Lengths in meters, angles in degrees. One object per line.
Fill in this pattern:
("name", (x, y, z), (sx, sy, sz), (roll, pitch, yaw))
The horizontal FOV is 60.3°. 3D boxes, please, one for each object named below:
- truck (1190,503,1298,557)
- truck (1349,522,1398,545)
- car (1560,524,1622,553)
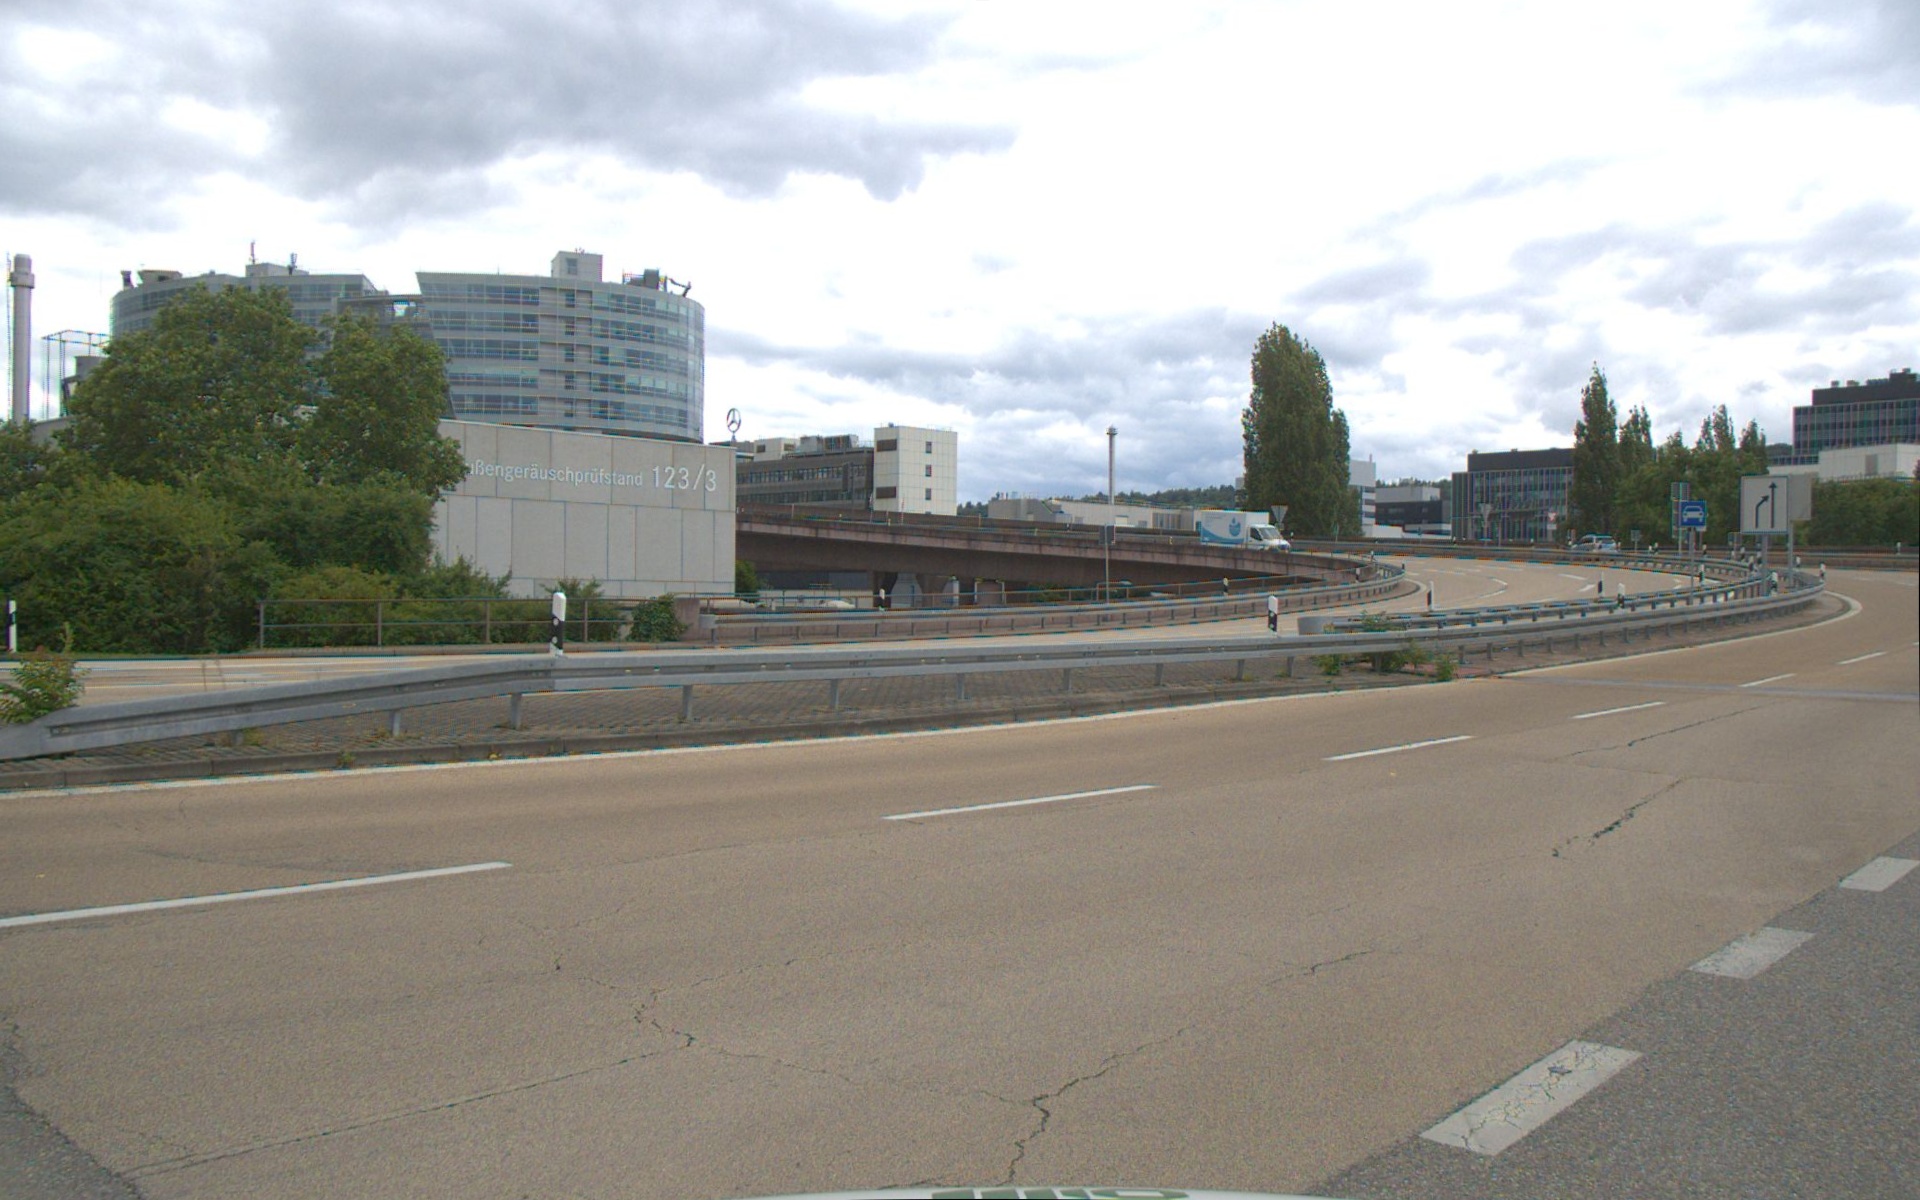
("truck", (18.477, -4.527, 108.036), (2.305, 3.326, 7.254), (3, -1, -37))
("truck", (48.014, -7.713, 191.937), (5.556, 2.201, 1.982), (3, -1, -28))
("car", (41.953, -4.069, 110.110), (1.693, 1.767, 4.544), (2, 1, -11))
